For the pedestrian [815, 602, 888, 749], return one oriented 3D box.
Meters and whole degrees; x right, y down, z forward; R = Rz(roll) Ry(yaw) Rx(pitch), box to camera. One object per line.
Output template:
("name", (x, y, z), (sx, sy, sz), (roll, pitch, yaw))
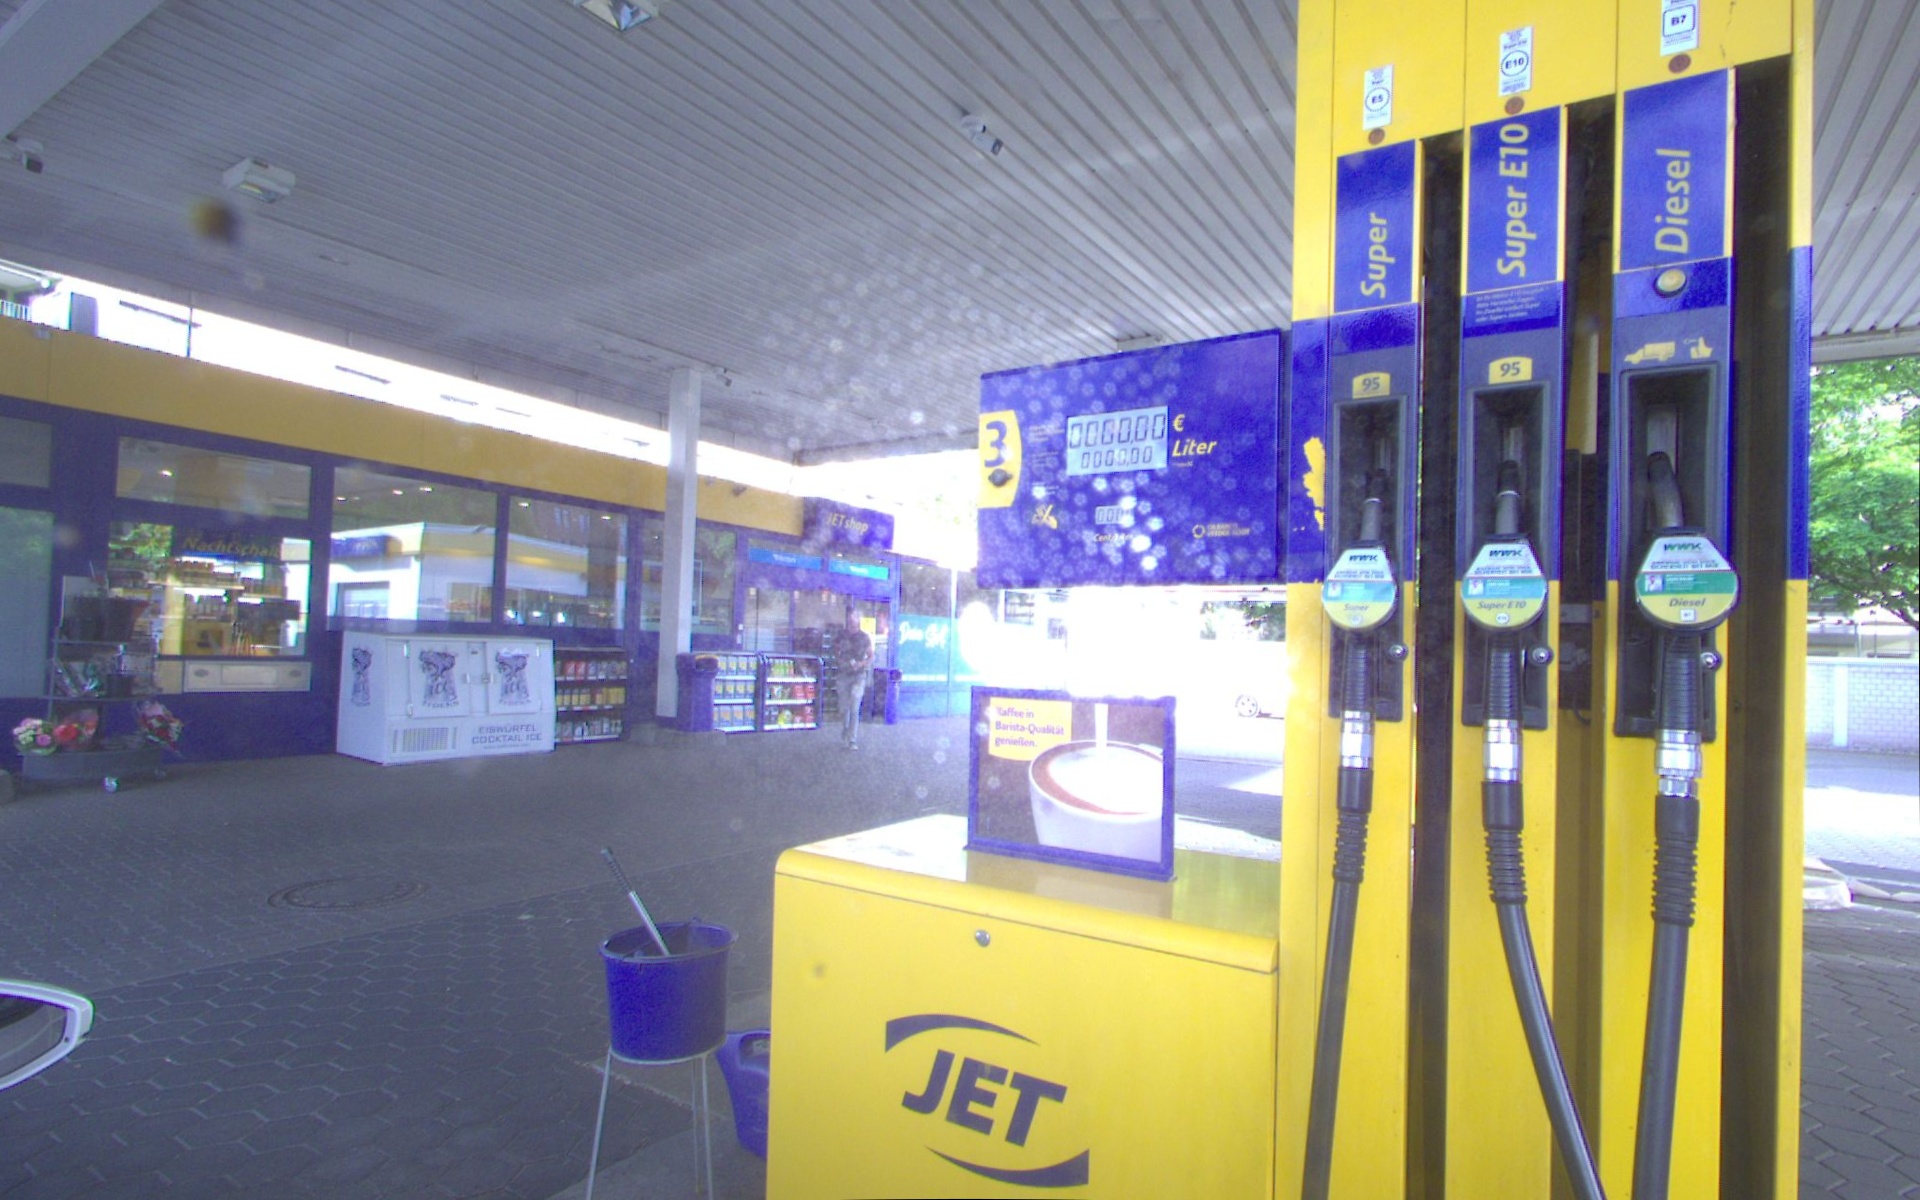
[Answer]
("pedestrian", (-1.418, 0.986, 13.232), (0.788, 1.838, 0.985), (2, -2, -1))
